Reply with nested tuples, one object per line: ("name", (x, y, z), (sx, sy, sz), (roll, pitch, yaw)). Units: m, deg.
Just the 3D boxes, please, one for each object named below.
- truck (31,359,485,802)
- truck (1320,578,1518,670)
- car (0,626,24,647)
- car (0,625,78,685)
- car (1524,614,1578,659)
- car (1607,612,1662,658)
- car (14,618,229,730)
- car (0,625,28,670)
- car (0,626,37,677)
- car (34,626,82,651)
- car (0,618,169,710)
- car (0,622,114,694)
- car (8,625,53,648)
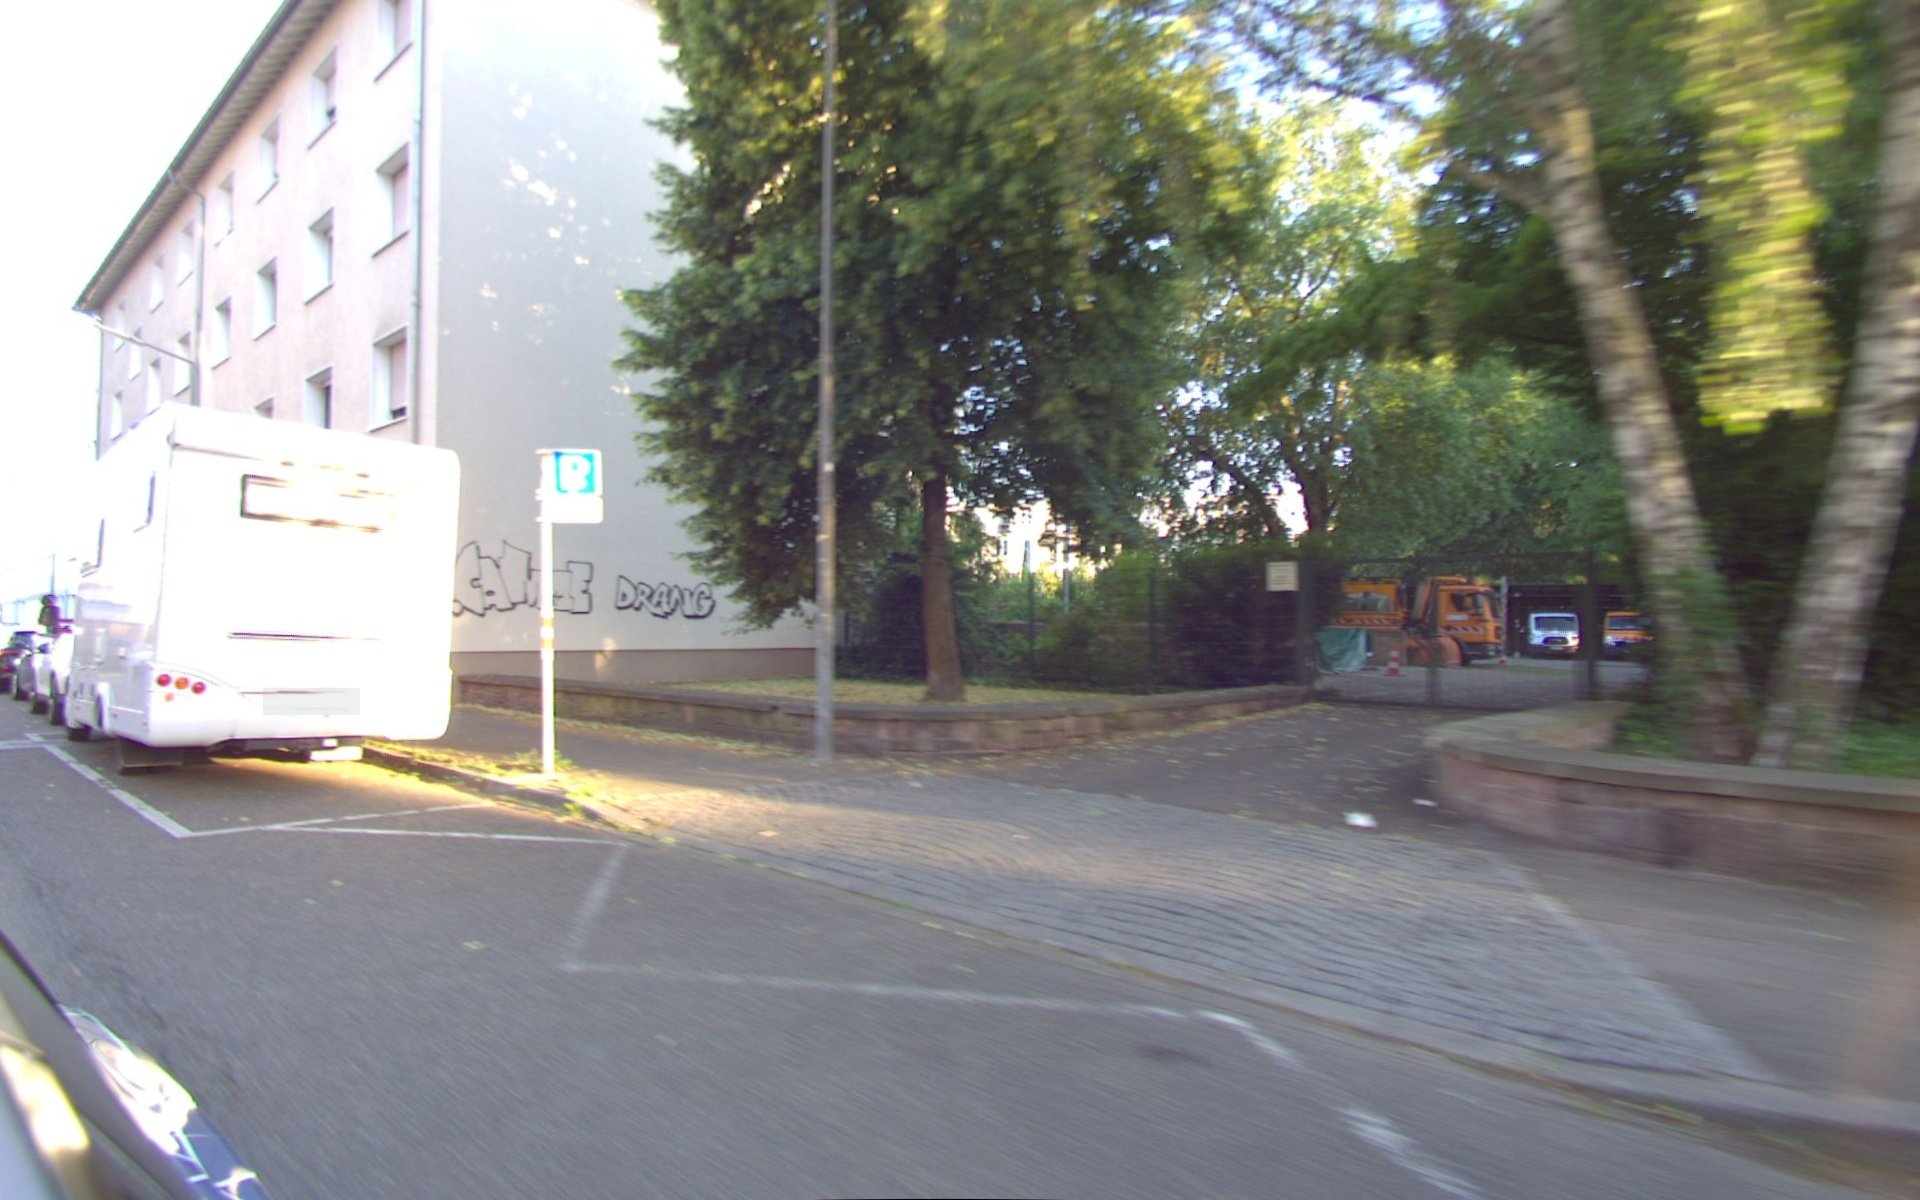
("truck", (-8.299, -0.008, 11.390), (8.019, 3.379, 2.497), (-2, -5, 44))
("truck", (14.766, 0.747, 32.713), (5.497, 2.725, 2.222), (-1, 0, 35))
("car", (-68.790, 2.617, 72.751), (4.002, 1.530, 1.971), (-2, -2, 45))
("car", (-24.447, 1.381, 26.135), (4.430, 1.455, 1.972), (-2, -2, 42))
("car", (27.908, 1.686, 47.727), (1.994, 2.029, 3.955), (-1, -2, 33))
("car", (30.780, 1.566, 46.287), (1.994, 2.029, 3.955), (-1, -2, 33))
("car", (-13.314, 1.109, 15.951), (4.909, 1.488, 1.886), (-2, -5, 43))
("car", (-32.840, 1.579, 33.833), (4.428, 1.455, 1.973), (-2, -2, 40))
("car", (-28.997, 1.502, 30.061), (4.428, 1.455, 1.769), (-2, -2, 41))
("car", (-56.378, 2.397, 63.263), (4.002, 1.497, 1.971), (-2, -2, 45))
("car", (-16.605, 1.172, 19.128), (4.065, 1.545, 1.771), (-2, -4, 40))
("car", (-20.605, 1.236, 22.553), (4.428, 1.455, 1.973), (-2, -2, 40))
("car", (-61.281, 2.393, 66.719), (4.002, 1.497, 1.971), (-2, -2, 45))
